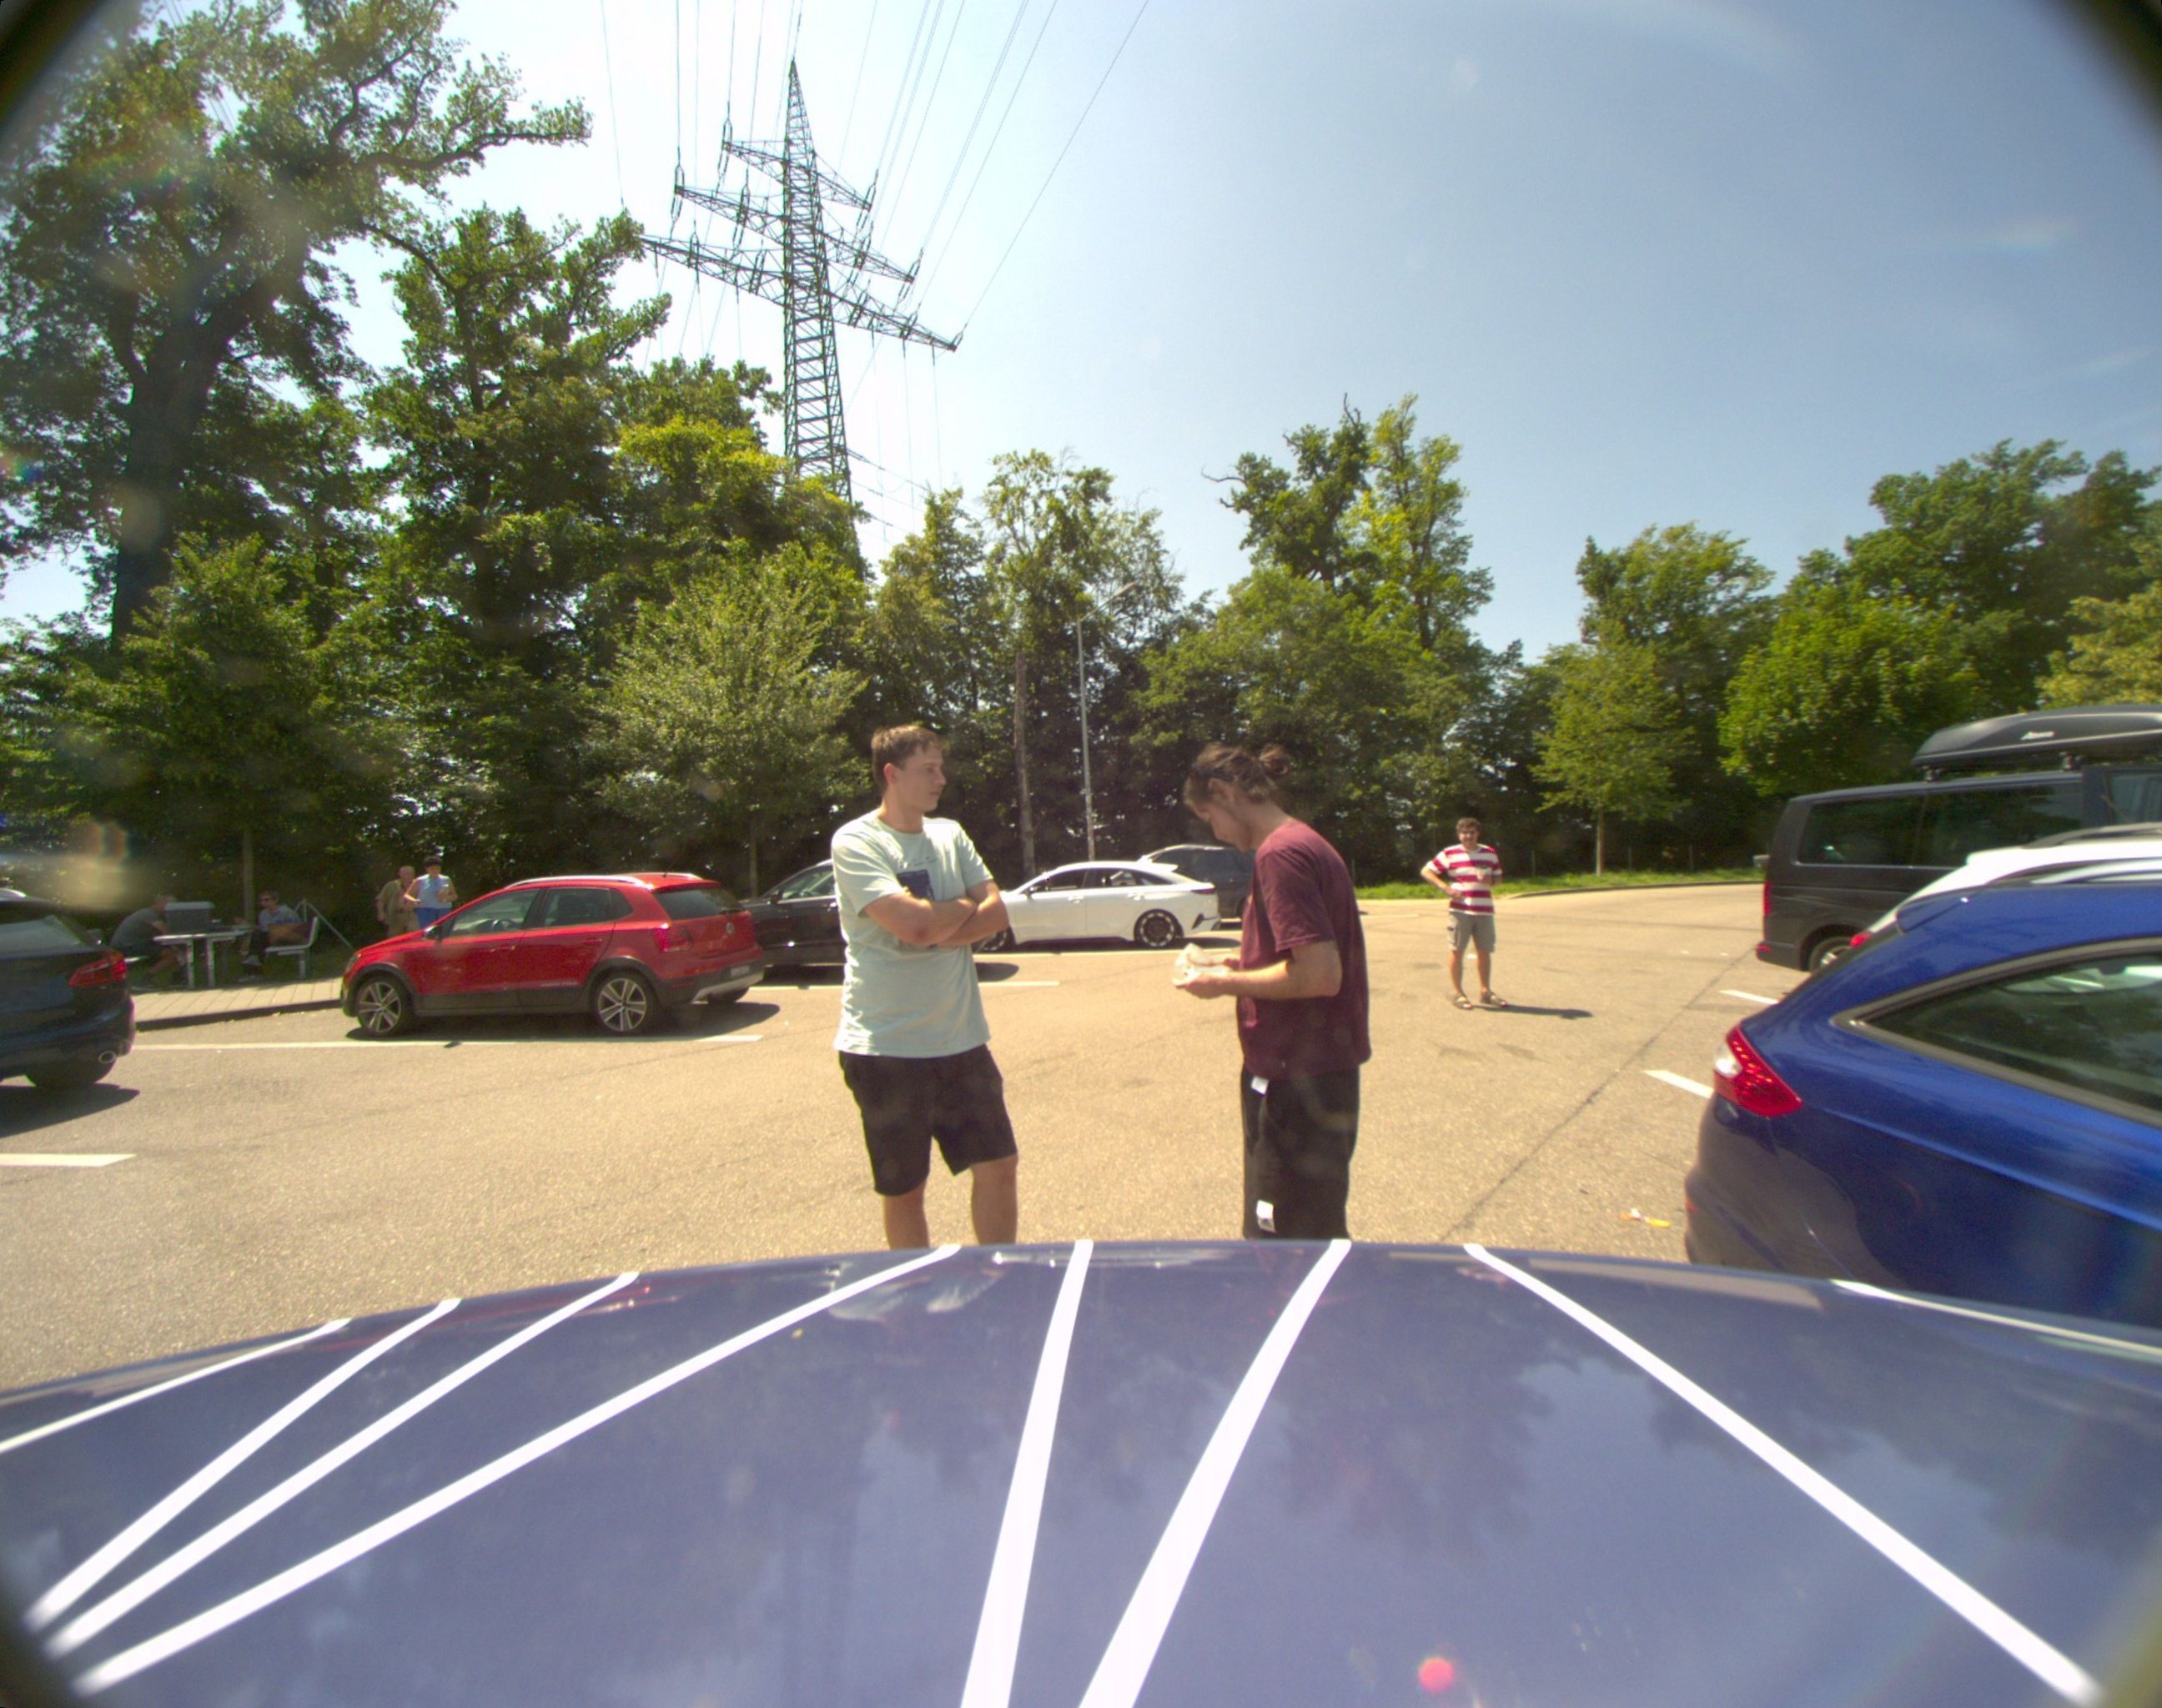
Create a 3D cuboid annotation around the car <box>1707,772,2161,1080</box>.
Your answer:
[{"bbox_3d":[7.382,0.413,5.298,1.758,1.886,4.571,-3,-1,-9],"label":"car"}]

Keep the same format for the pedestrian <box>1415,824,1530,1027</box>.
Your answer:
[{"bbox_3d":[3.570,0.622,6.999,0.754,1.744,0.786,-2,1,15],"label":"pedestrian"}]

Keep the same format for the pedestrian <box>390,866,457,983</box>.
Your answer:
[{"bbox_3d":[-9.459,0.986,10.938,0.648,1.596,0.571,-3,2,-42],"label":"pedestrian"}]

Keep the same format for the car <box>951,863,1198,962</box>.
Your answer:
[{"bbox_3d":[-0.067,0.930,12.689,3.825,1.394,1.651,-2,1,4],"label":"car"}]

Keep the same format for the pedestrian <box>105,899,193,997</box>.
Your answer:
[{"bbox_3d":[-12.721,1.262,10.388,0.595,1.238,0.446,-3,1,-33],"label":"pedestrian"}]

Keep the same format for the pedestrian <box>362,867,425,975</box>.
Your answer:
[{"bbox_3d":[-10.732,1.024,11.869,0.648,1.596,0.571,-3,2,-42],"label":"pedestrian"}]

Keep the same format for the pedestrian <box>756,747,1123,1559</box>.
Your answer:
[{"bbox_3d":[-0.408,0.710,2.332,0.814,1.939,0.920,-2,1,-10],"label":"pedestrian"}]

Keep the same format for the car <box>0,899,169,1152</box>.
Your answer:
[{"bbox_3d":[-9.024,1.166,5.020,4.338,1.544,1.749,-1,1,8],"label":"car"}]

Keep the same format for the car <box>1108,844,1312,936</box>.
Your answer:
[{"bbox_3d":[2.615,0.708,15.471,3.822,1.686,1.652,-2,1,12],"label":"car"}]

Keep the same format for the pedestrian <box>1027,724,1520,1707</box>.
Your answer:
[{"bbox_3d":[0.475,0.712,1.945,0.919,1.894,0.815,-2,1,16],"label":"pedestrian"}]

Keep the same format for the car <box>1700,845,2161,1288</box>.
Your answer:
[{"bbox_3d":[4.653,0.727,2.267,1.757,1.496,4.574,-3,-1,-1],"label":"car"}]

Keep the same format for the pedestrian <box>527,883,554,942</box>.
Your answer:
[{"bbox_3d":[-11.001,1.180,15.455,0.357,1.158,0.384,-3,2,-41],"label":"pedestrian"}]

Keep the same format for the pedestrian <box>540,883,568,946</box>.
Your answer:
[{"bbox_3d":[-10.156,1.157,14.639,0.357,1.158,0.384,-3,2,-41],"label":"pedestrian"}]

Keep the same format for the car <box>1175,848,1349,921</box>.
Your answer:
[{"bbox_3d":[4.274,0.705,18.166,3.822,1.551,1.652,-2,1,12],"label":"car"}]

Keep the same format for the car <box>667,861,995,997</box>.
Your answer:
[{"bbox_3d":[-3.242,0.957,10.315,3.825,1.546,1.651,-2,1,4],"label":"car"}]

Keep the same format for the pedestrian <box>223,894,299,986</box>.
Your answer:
[{"bbox_3d":[-11.854,1.223,11.002,0.595,1.238,0.499,-3,1,-33],"label":"pedestrian"}]

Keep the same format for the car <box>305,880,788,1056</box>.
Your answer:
[{"bbox_3d":[-5.224,1.085,7.686,3.823,1.460,1.651,-2,1,8],"label":"car"}]
